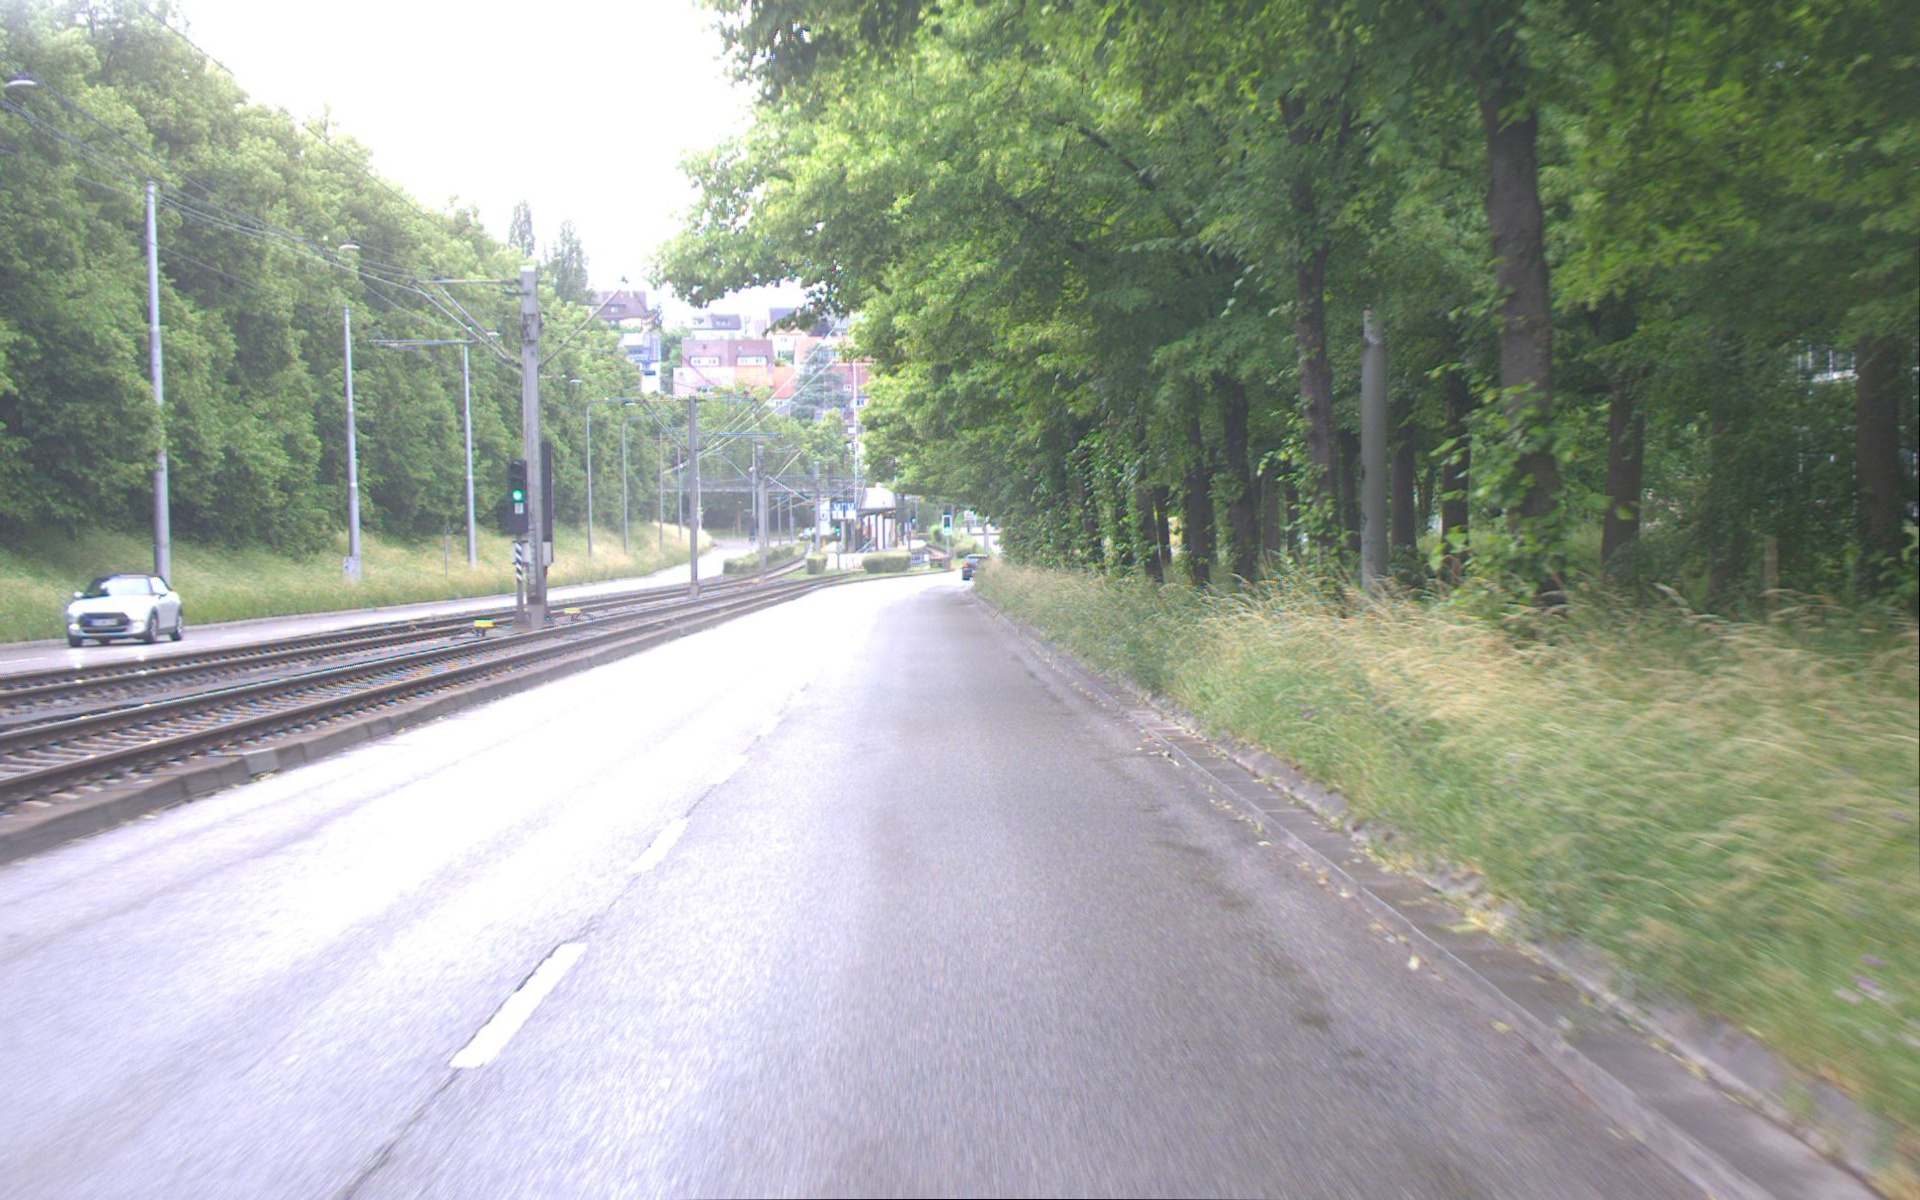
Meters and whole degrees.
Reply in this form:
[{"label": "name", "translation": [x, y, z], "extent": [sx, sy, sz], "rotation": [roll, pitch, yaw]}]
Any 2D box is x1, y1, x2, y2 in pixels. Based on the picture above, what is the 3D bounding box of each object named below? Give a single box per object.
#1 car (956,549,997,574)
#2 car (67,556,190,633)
[{"label": "car", "translation": [0.891, -2.157, 190.484], "extent": [2.194, 1.325, 4.001], "rotation": [0, 2, -1]}, {"label": "car", "translation": [-16.674, -0.124, 69.094], "extent": [1.476, 1.431, 3.909], "rotation": [-2, 1, 0]}]
